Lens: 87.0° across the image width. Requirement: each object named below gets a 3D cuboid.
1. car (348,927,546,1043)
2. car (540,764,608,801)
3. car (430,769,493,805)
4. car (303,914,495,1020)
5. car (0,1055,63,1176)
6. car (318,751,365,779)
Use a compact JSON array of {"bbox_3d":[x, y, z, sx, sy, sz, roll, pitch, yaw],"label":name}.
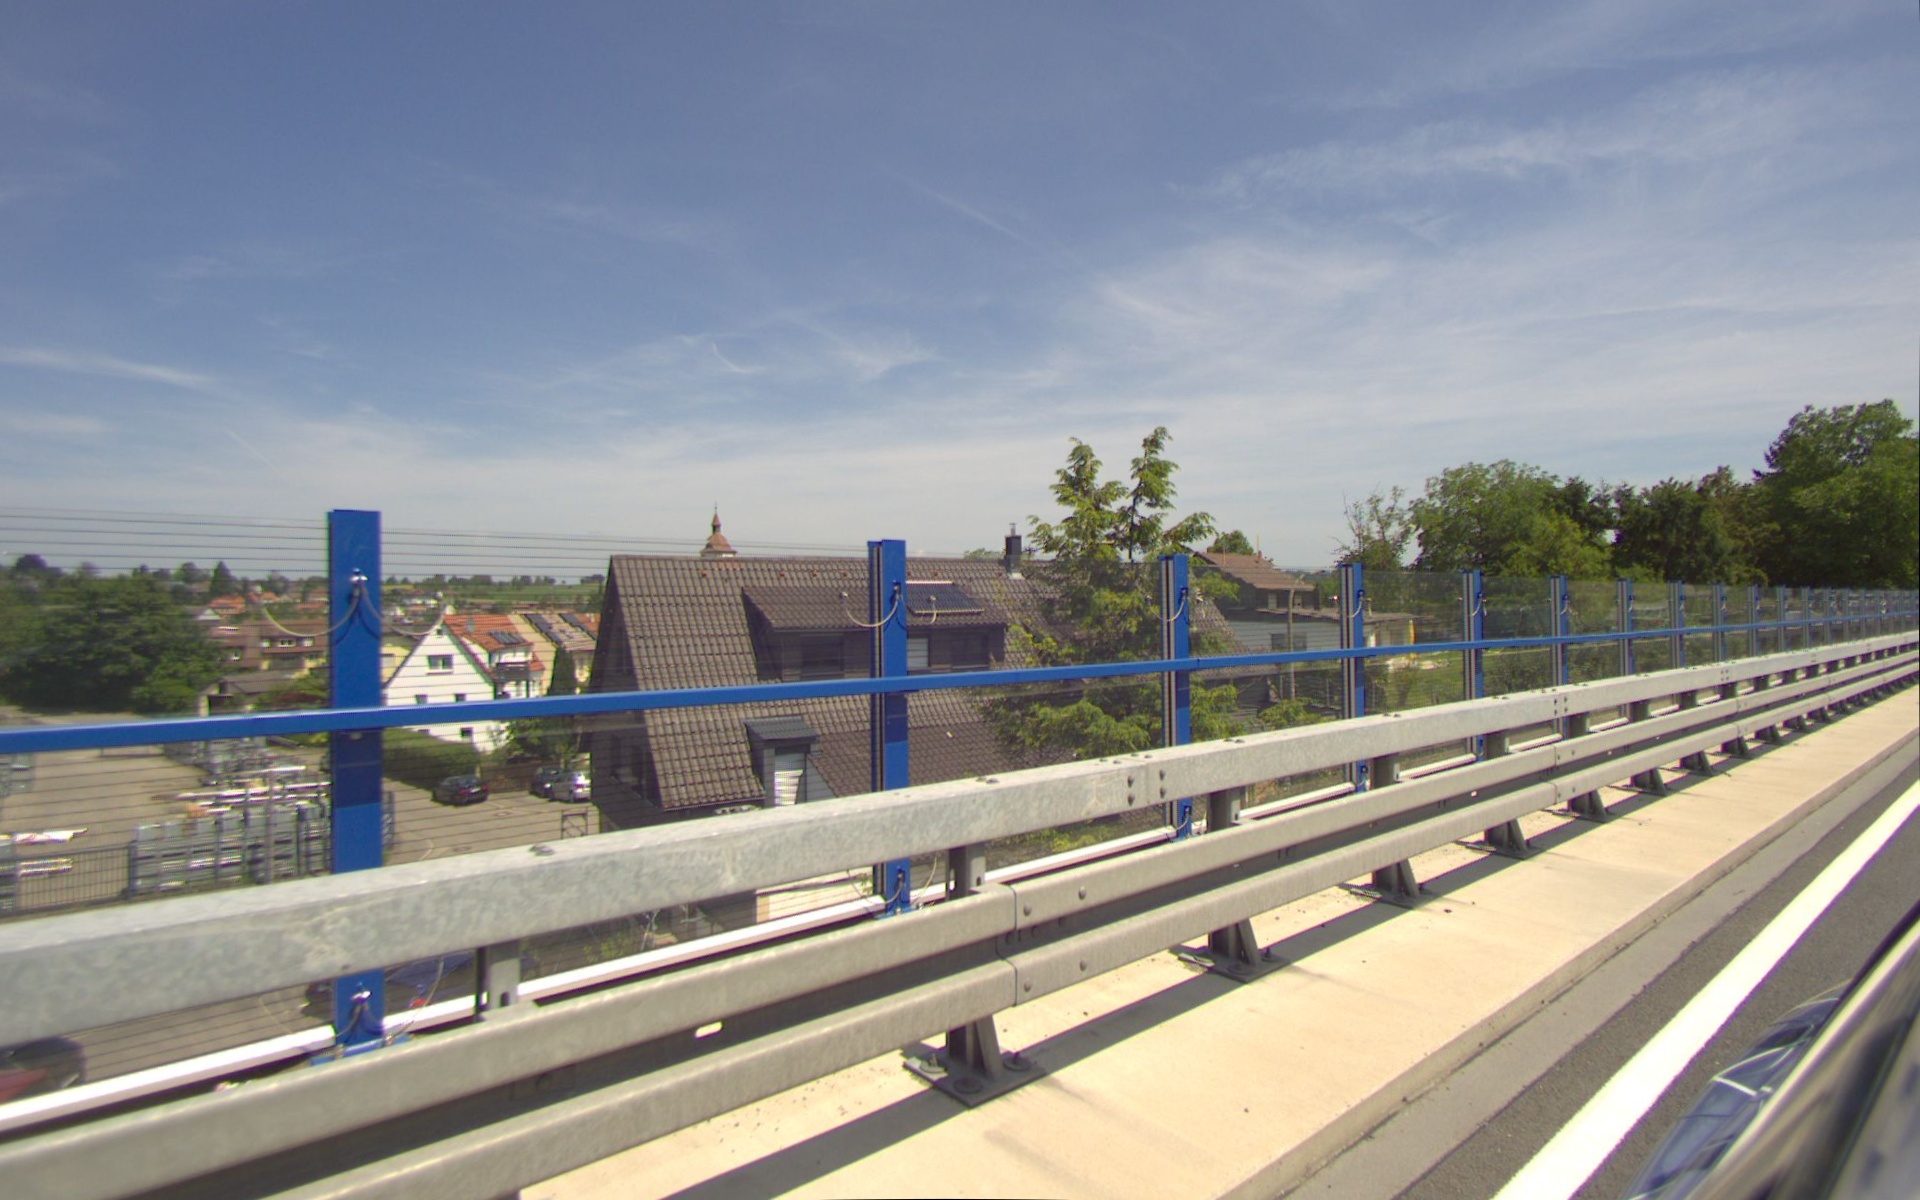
[{"bbox_3d":[-11.861,8.874,23.674,1.707,1.385,3.968,-7,-5,22],"label":"car"},{"bbox_3d":[-20.127,9.495,52.666,1.794,1.589,3.986,-1,-7,-45],"label":"car"},{"bbox_3d":[-26.427,9.895,53.600,1.794,1.589,3.986,-1,-7,-45],"label":"car"},{"bbox_3d":[-13.889,9.068,25.300,1.707,1.385,3.968,-7,-5,22],"label":"car"},{"bbox_3d":[-17.318,8.665,16.355,3.919,1.385,1.728,-5,-5,-9],"label":"car"},{"bbox_3d":[-41.896,11.198,68.500,1.794,1.589,3.986,-1,-7,-45],"label":"car"}]
